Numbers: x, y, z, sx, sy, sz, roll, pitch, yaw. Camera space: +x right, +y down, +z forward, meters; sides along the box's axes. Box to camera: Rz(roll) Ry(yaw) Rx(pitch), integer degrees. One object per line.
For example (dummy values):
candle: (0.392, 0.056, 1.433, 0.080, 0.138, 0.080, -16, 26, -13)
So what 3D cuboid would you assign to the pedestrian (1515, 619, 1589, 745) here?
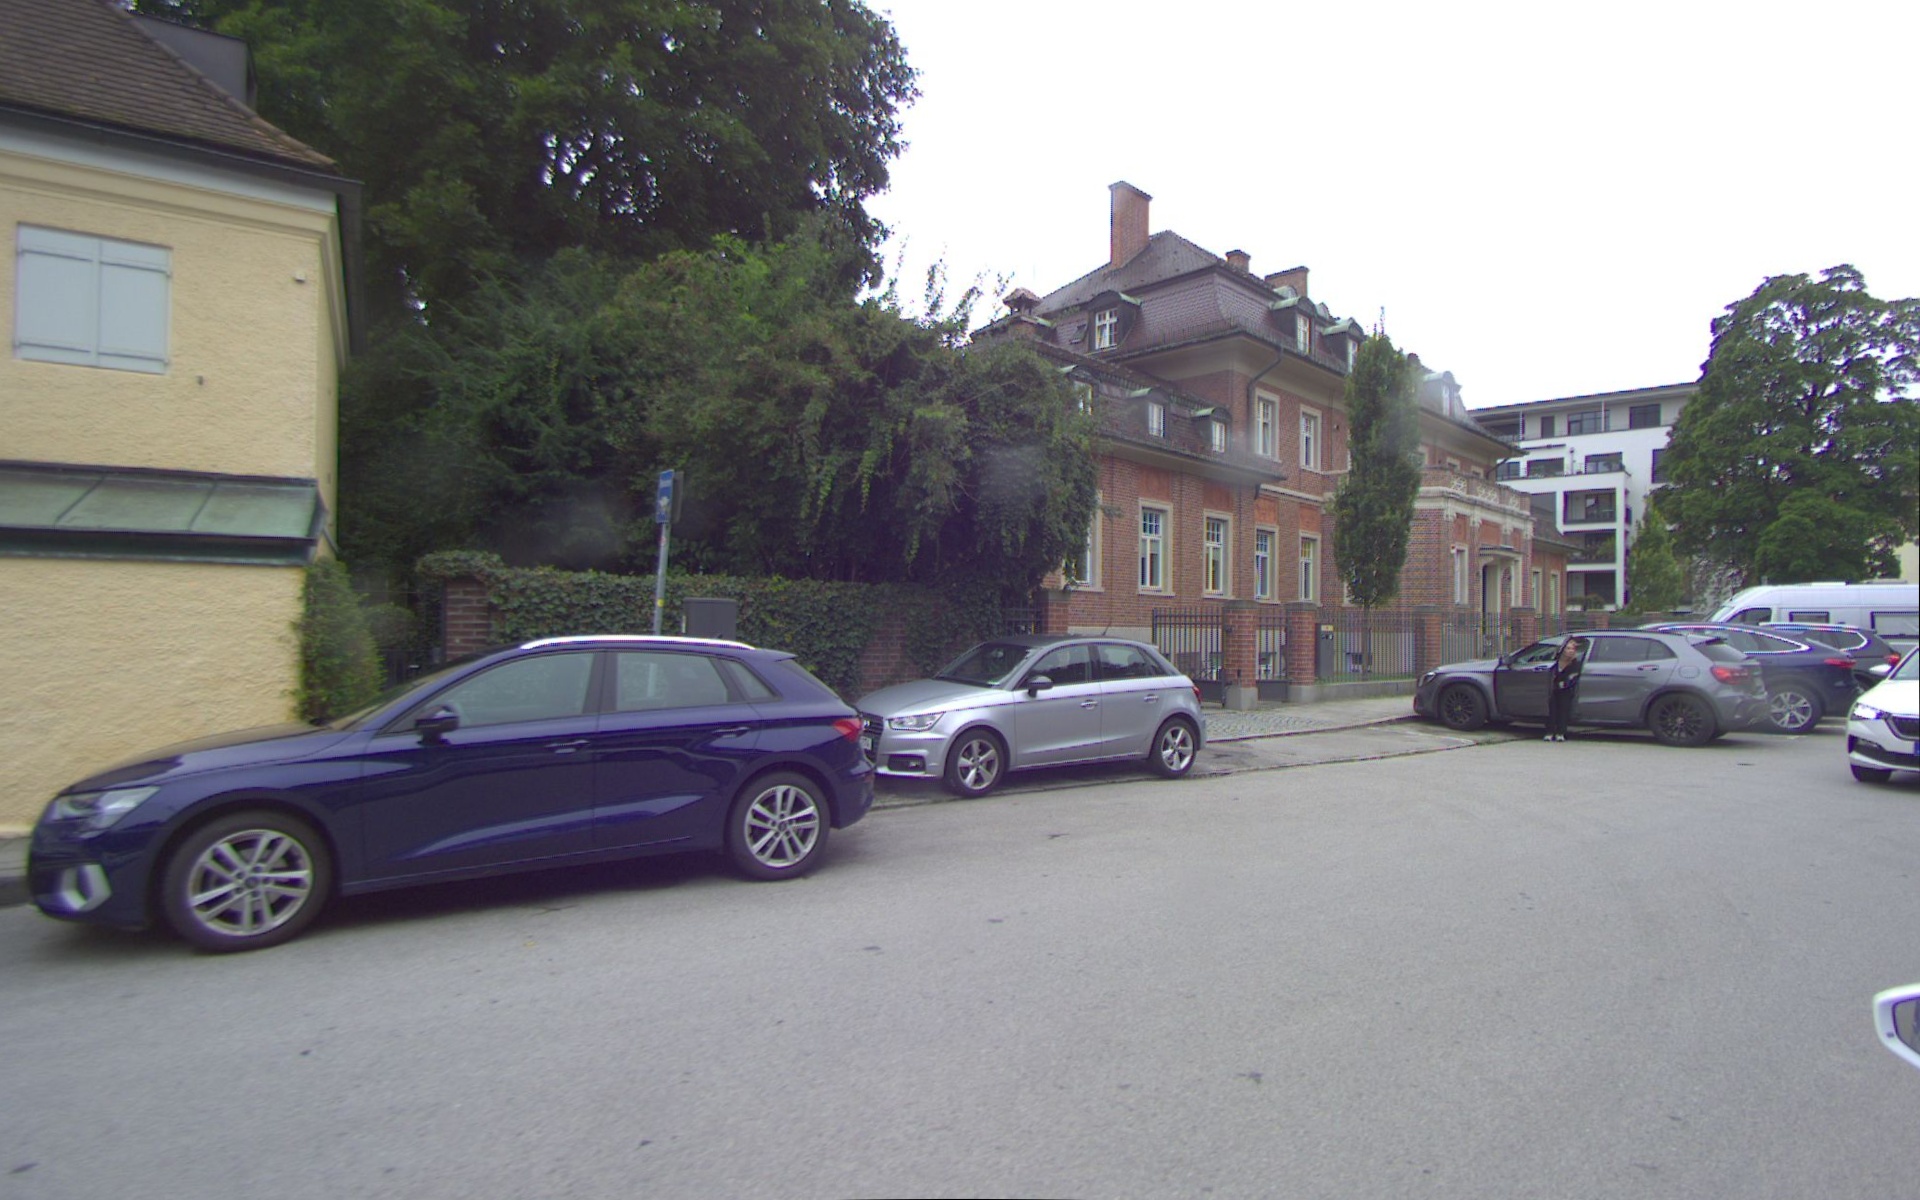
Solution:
pedestrian: (8.093, 1.103, 13.736, 0.707, 1.669, 0.586, 1, -3, -36)

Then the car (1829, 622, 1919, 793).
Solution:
car: (10.231, 0.979, 9.772, 4.092, 1.494, 1.761, 1, -2, -35)

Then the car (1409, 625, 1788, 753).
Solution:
car: (9.025, 1.160, 14.467, 1.920, 1.550, 4.290, 3, -3, -43)

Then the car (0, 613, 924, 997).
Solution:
car: (-2.626, 0.918, 5.964, 4.510, 1.555, 1.836, 1, -4, -31)

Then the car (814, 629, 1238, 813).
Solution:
car: (0.738, 1.106, 10.321, 4.102, 1.555, 1.732, 1, -4, -31)

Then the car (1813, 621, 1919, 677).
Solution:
car: (29.899, 1.532, 31.428, 4.438, 1.686, 1.988, -1, -3, 20)

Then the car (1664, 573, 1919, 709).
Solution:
car: (17.686, 0.851, 20.977, 4.552, 2.597, 2.232, -2, -2, 27)

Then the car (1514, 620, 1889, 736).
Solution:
car: (11.366, 1.188, 15.878, 4.444, 1.614, 1.963, -2, -3, 27)

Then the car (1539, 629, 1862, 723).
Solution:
car: (12.867, 1.318, 17.867, 4.342, 1.506, 1.831, -2, -4, 28)

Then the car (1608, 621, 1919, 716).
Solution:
car: (15.221, 1.291, 19.270, 4.444, 1.646, 1.965, -2, -4, 27)
